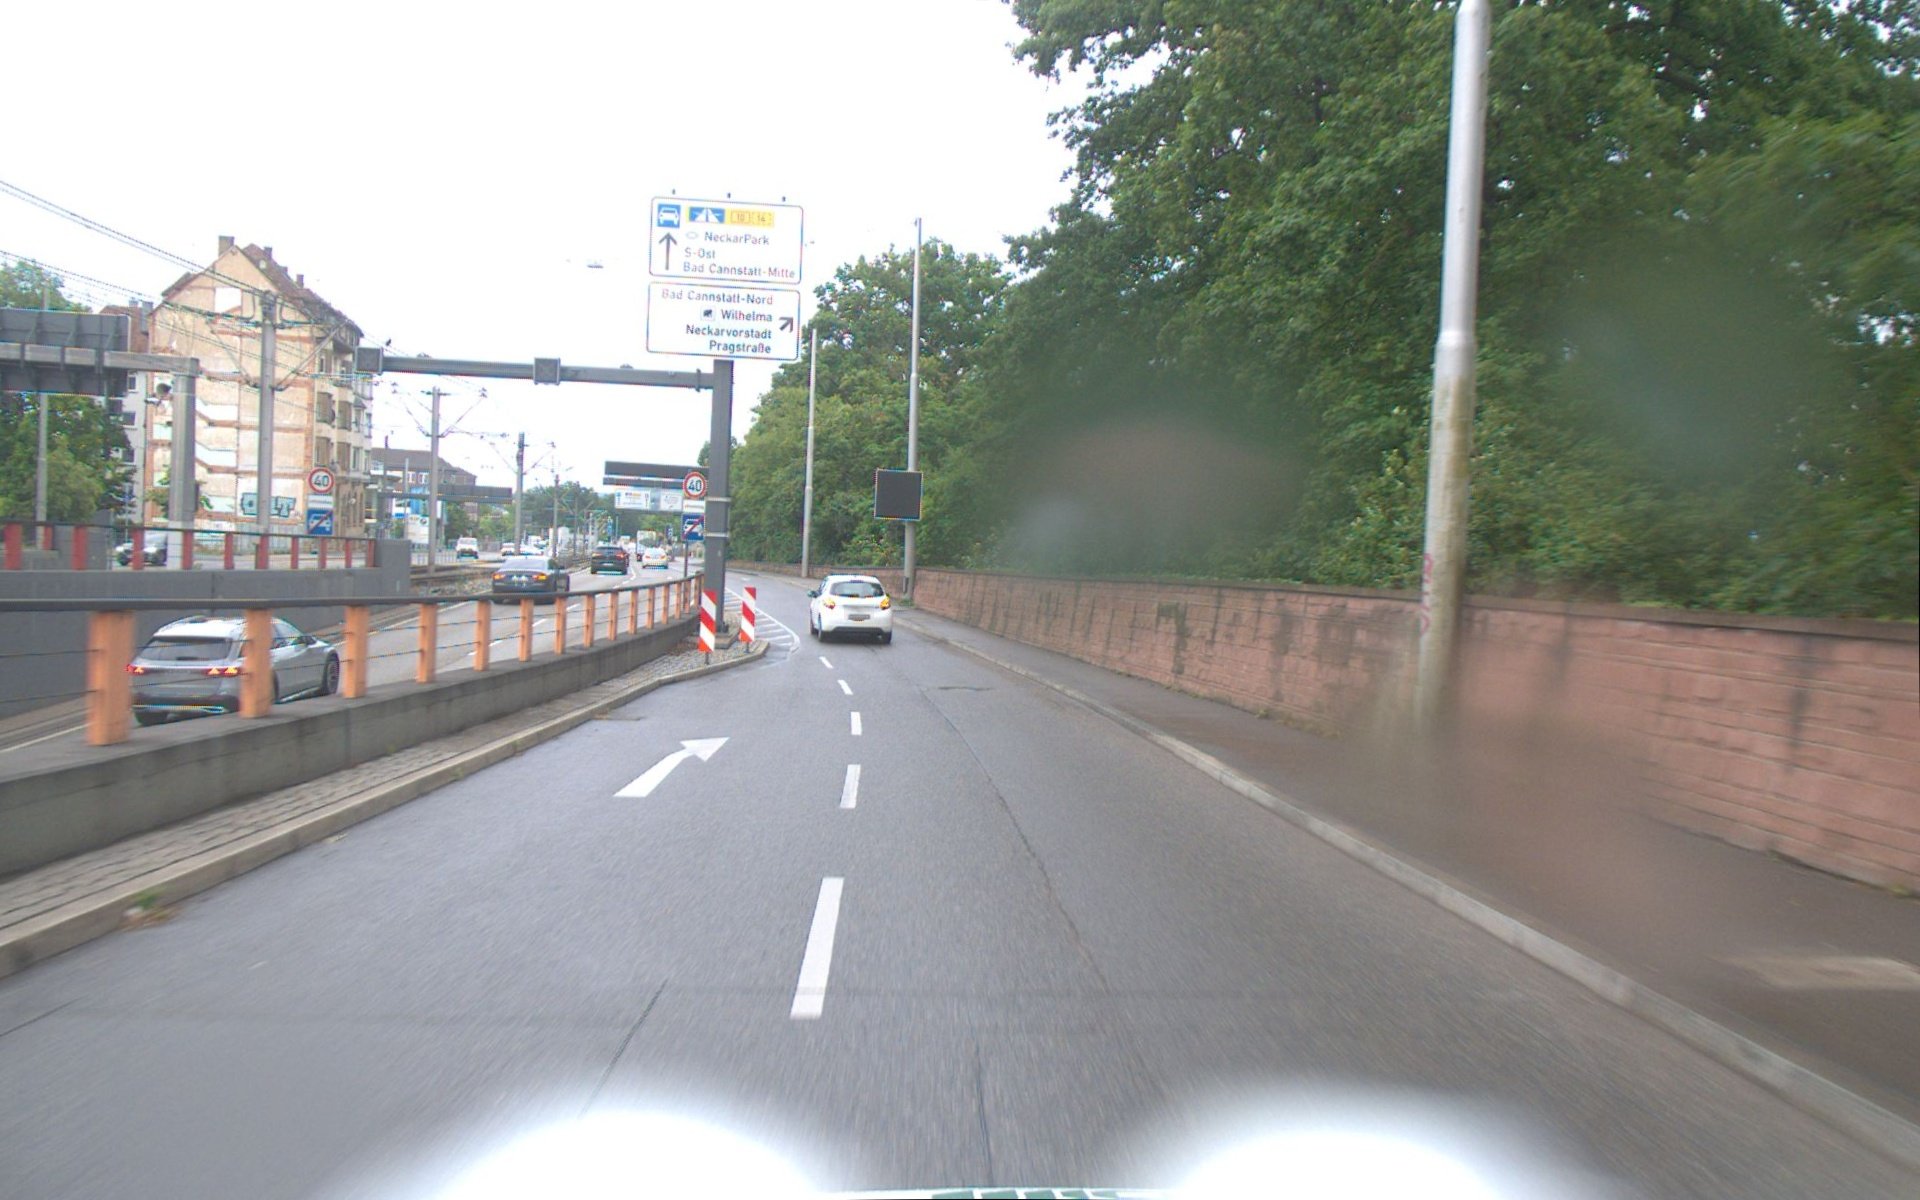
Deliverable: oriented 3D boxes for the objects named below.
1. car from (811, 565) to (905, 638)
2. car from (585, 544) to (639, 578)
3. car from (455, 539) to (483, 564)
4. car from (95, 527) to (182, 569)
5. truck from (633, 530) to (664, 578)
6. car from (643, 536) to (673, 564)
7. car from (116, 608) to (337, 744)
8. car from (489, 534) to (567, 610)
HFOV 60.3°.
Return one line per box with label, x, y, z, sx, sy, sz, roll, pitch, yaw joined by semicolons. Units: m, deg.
car;-2.448;0.080;38.803;1.918;1.514;3.994;3;-2;-7
car;-17.306;-1.936;82.417;1.954;1.603;3.998;2;1;-3
car;-46.727;-4.593;157.437;1.958;2.154;5.098;3;1;-11
car;-34.754;-2.242;70.072;1.788;1.612;3.832;3;3;-1
truck;-40.306;-5.897;214.184;3.402;5.495;12.023;3;-2;-10
car;-22.008;-3.617;120.512;2.044;1.905;4.085;1;1;-11
car;-11.191;1.100;25.572;1.785;1.592;4.091;1;4;-4
car;-12.952;-0.881;49.735;1.688;1.923;3.533;2;5;-6
